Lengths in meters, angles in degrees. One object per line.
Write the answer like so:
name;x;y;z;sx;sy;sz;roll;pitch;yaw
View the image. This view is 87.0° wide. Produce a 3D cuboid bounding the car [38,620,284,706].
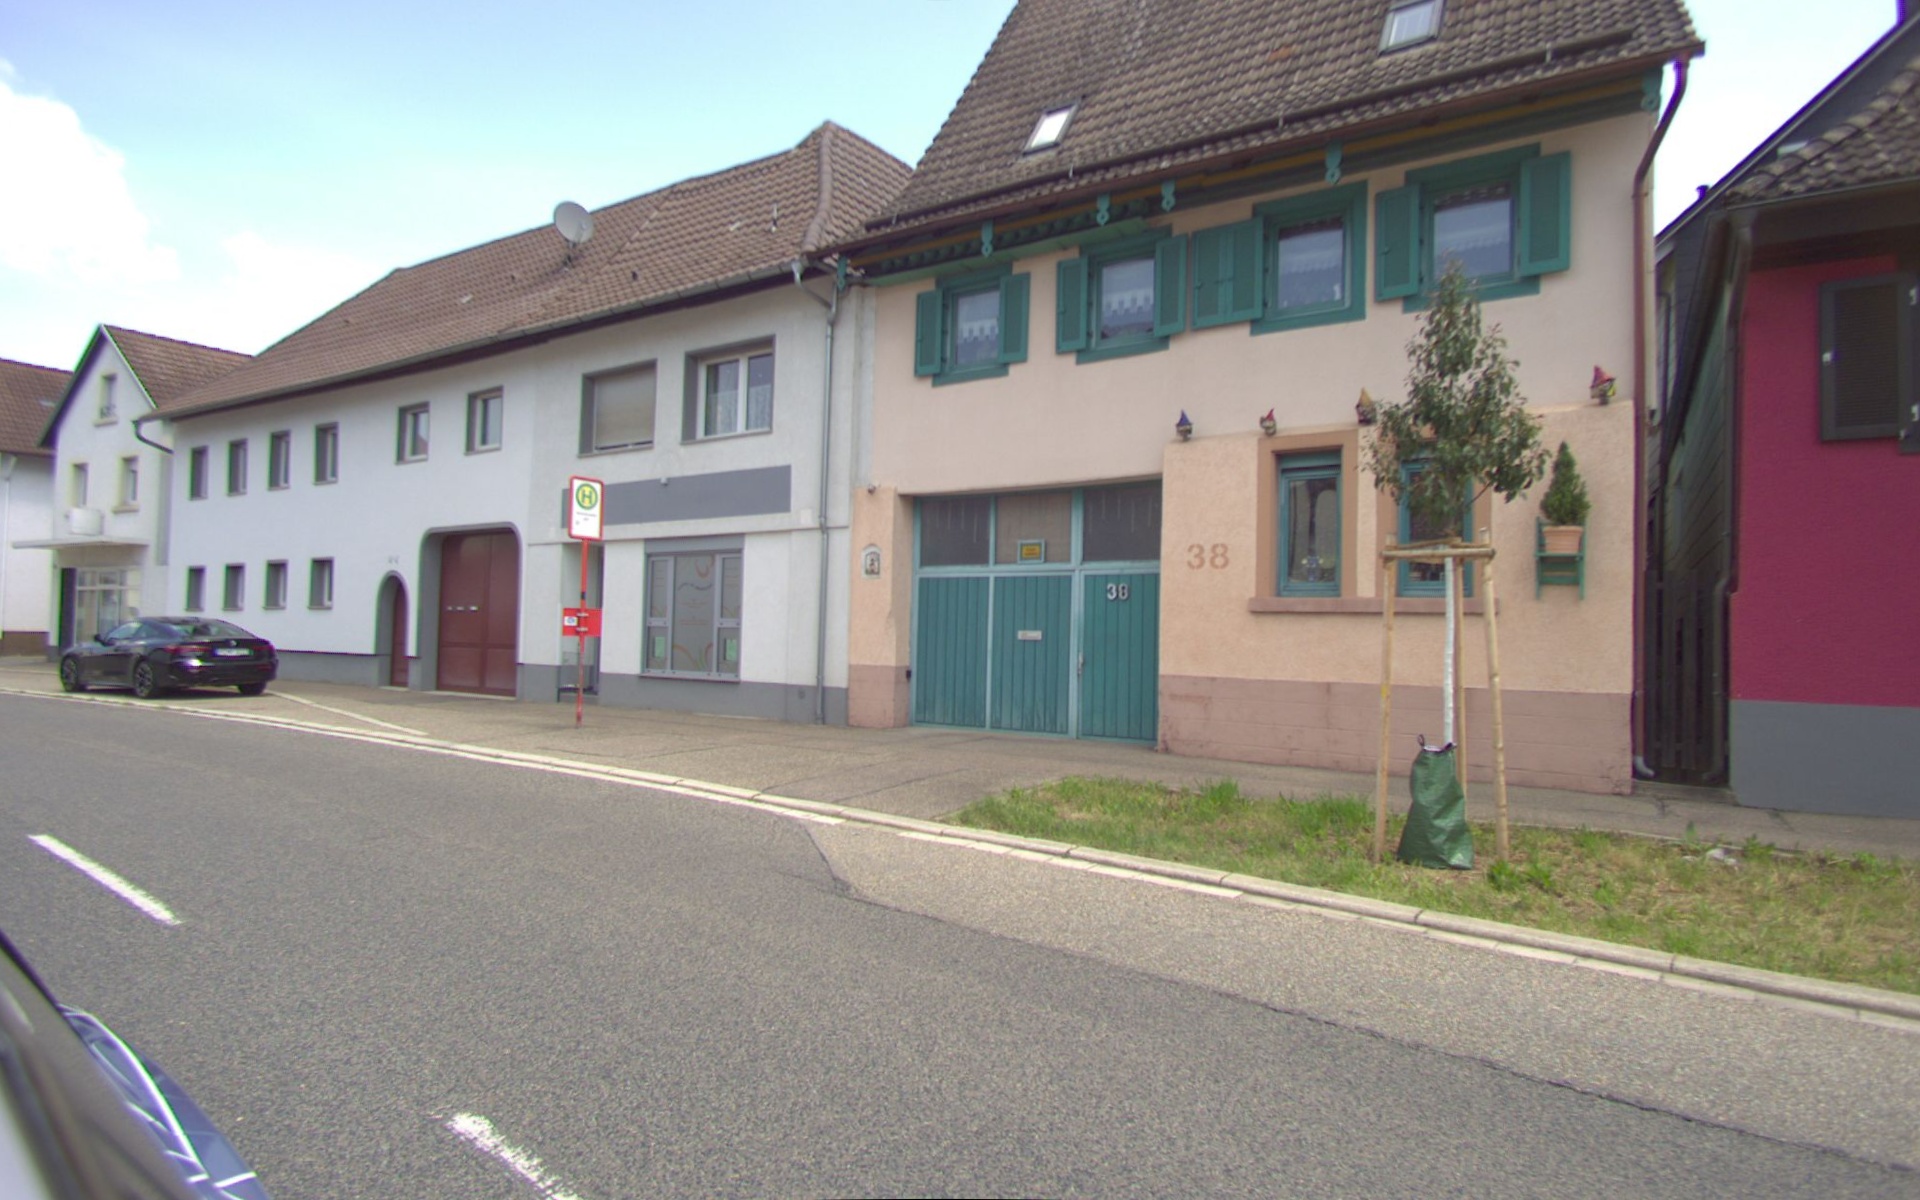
car;-14.329;1.060;18.086;4.735;1.359;1.754;-1;-2;29
